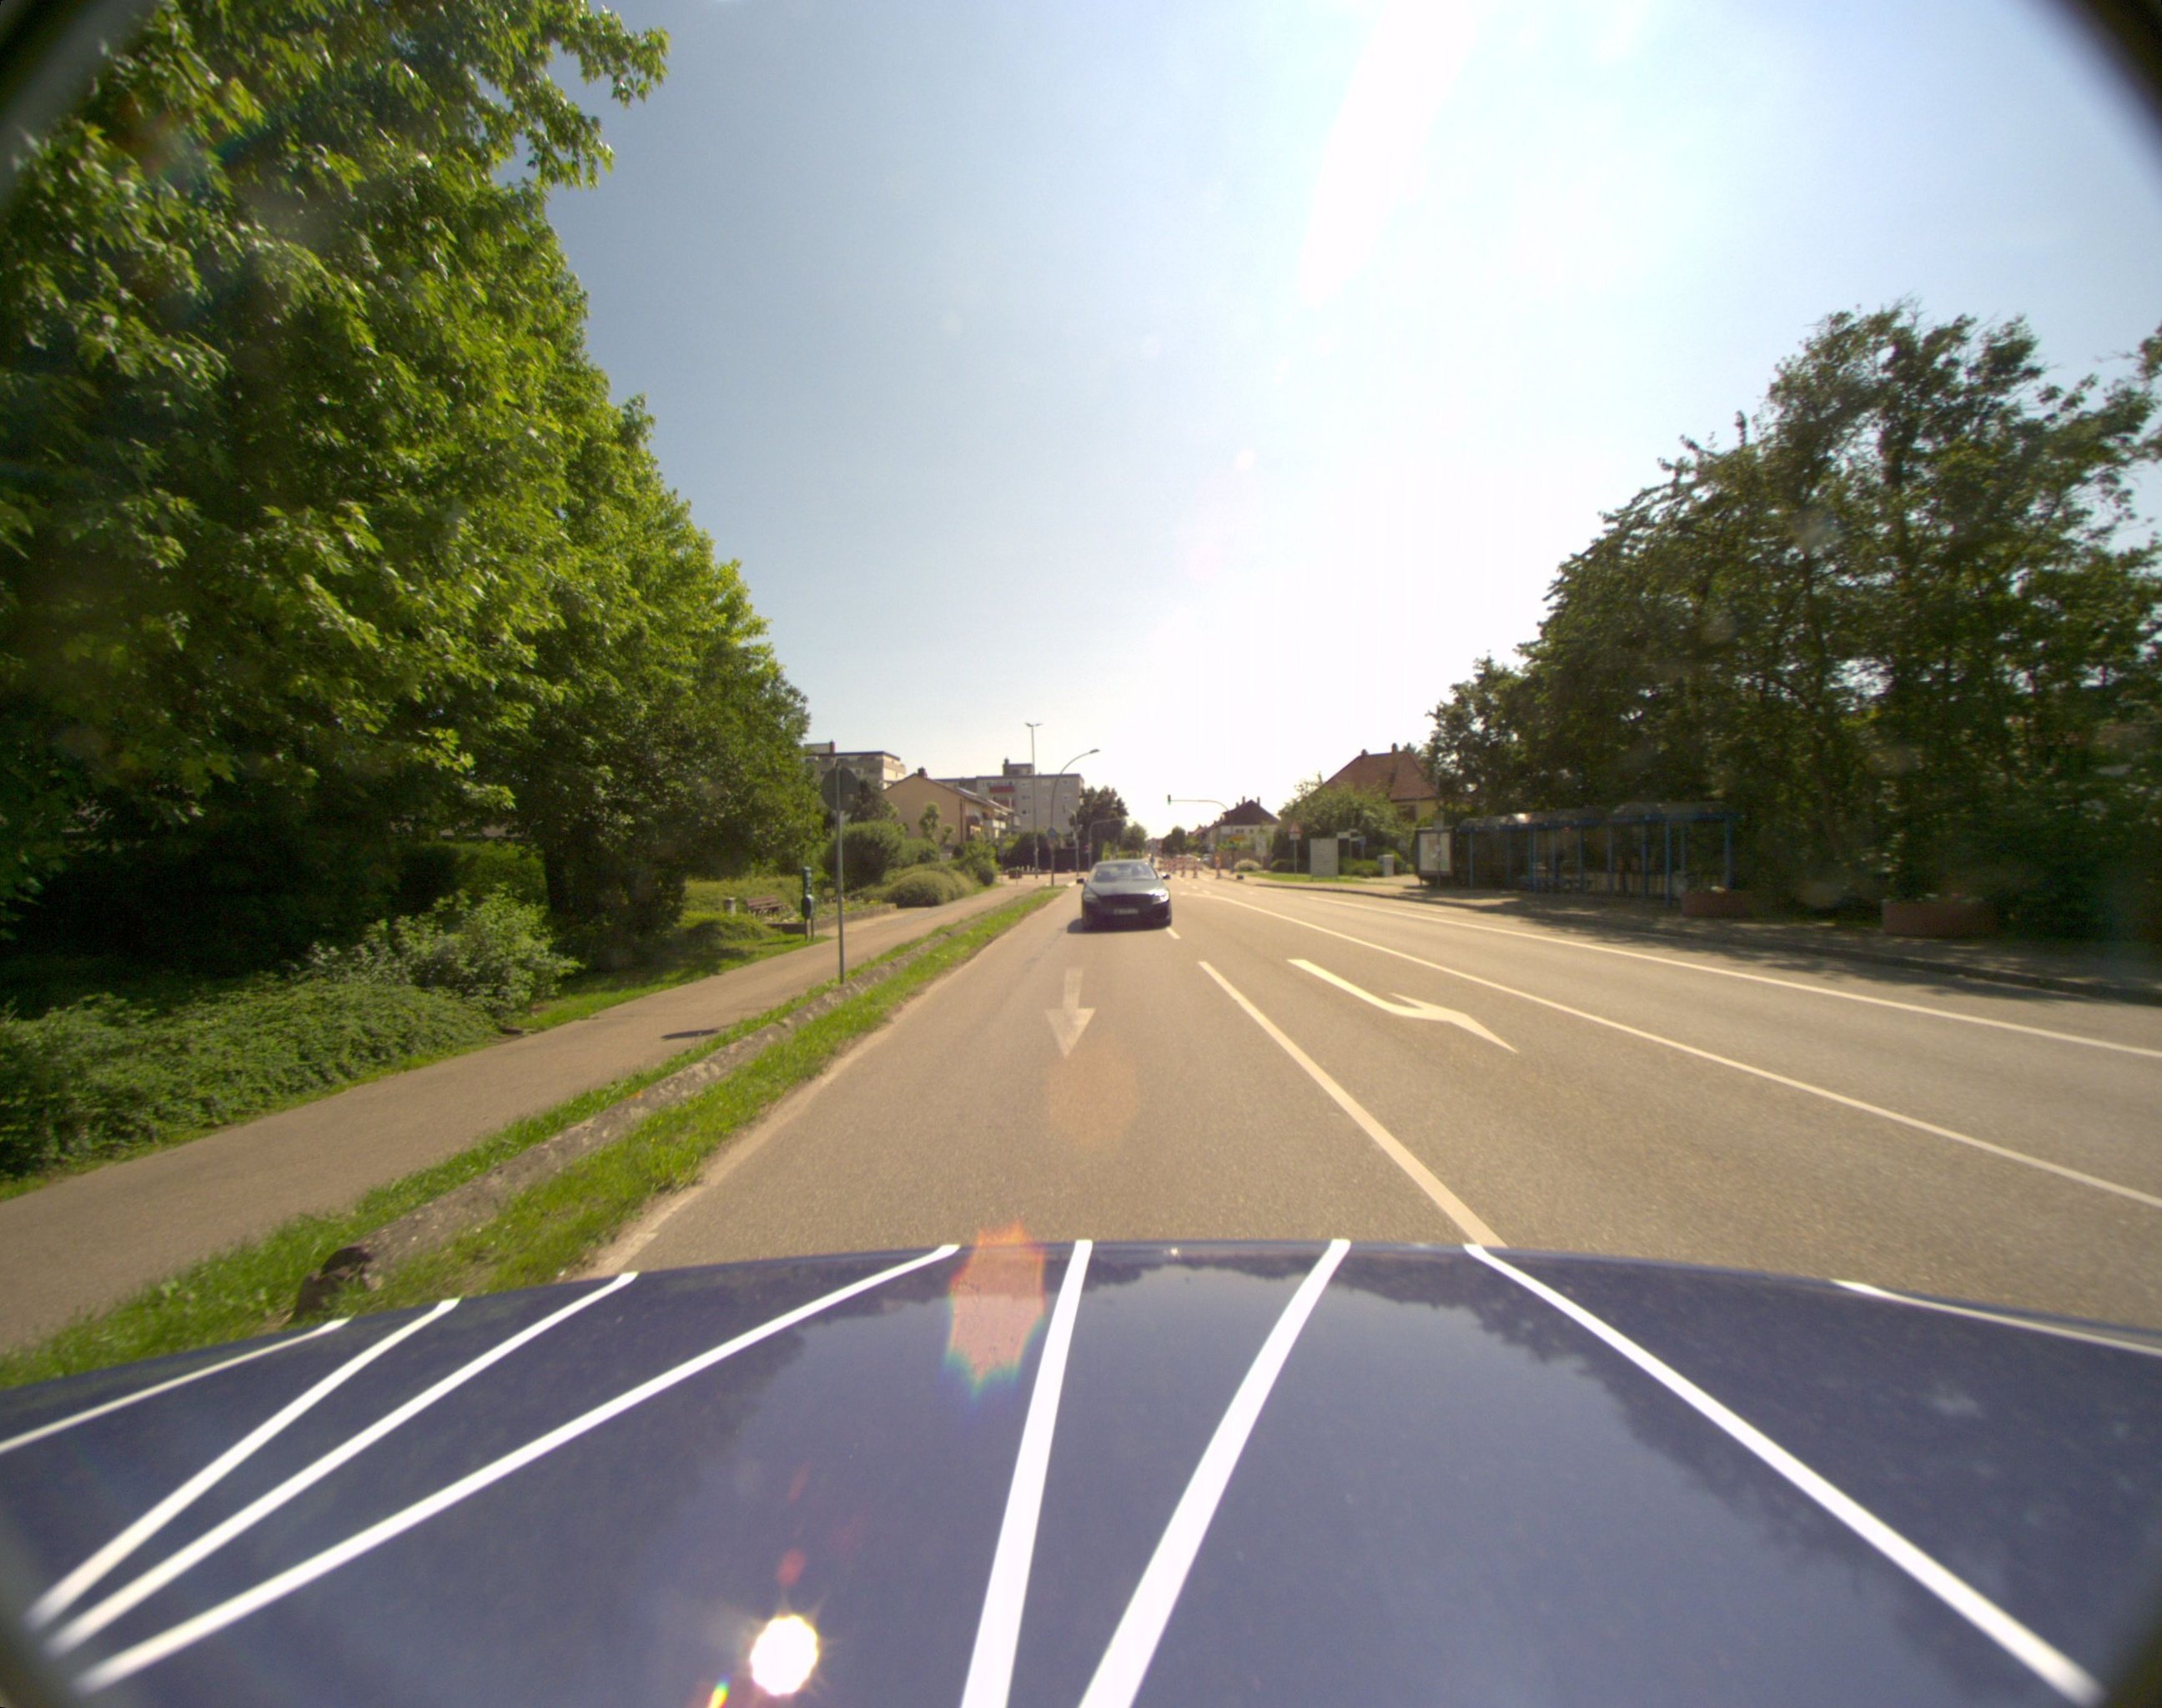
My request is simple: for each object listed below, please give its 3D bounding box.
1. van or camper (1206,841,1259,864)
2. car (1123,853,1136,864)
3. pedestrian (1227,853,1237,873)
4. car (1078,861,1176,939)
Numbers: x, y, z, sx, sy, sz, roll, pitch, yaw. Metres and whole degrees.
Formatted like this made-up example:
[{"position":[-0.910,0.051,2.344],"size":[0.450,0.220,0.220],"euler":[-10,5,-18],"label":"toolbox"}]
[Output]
[{"position":[19.519,-0.199,97.920],"size":[6.260,2.827,2.289],"euler":[-1,0,-4],"label":"van or camper"},{"position":[7.293,0.624,114.023],"size":[1.871,1.585,4.617],"euler":[-1,0,3],"label":"car"},{"position":[12.446,0.719,62.704],"size":[0.615,1.598,0.688],"euler":[-4,0,5],"label":"pedestrian"},{"position":[0.968,0.940,17.588],"size":[1.889,1.429,4.838],"euler":[-2,0,1],"label":"car"}]
